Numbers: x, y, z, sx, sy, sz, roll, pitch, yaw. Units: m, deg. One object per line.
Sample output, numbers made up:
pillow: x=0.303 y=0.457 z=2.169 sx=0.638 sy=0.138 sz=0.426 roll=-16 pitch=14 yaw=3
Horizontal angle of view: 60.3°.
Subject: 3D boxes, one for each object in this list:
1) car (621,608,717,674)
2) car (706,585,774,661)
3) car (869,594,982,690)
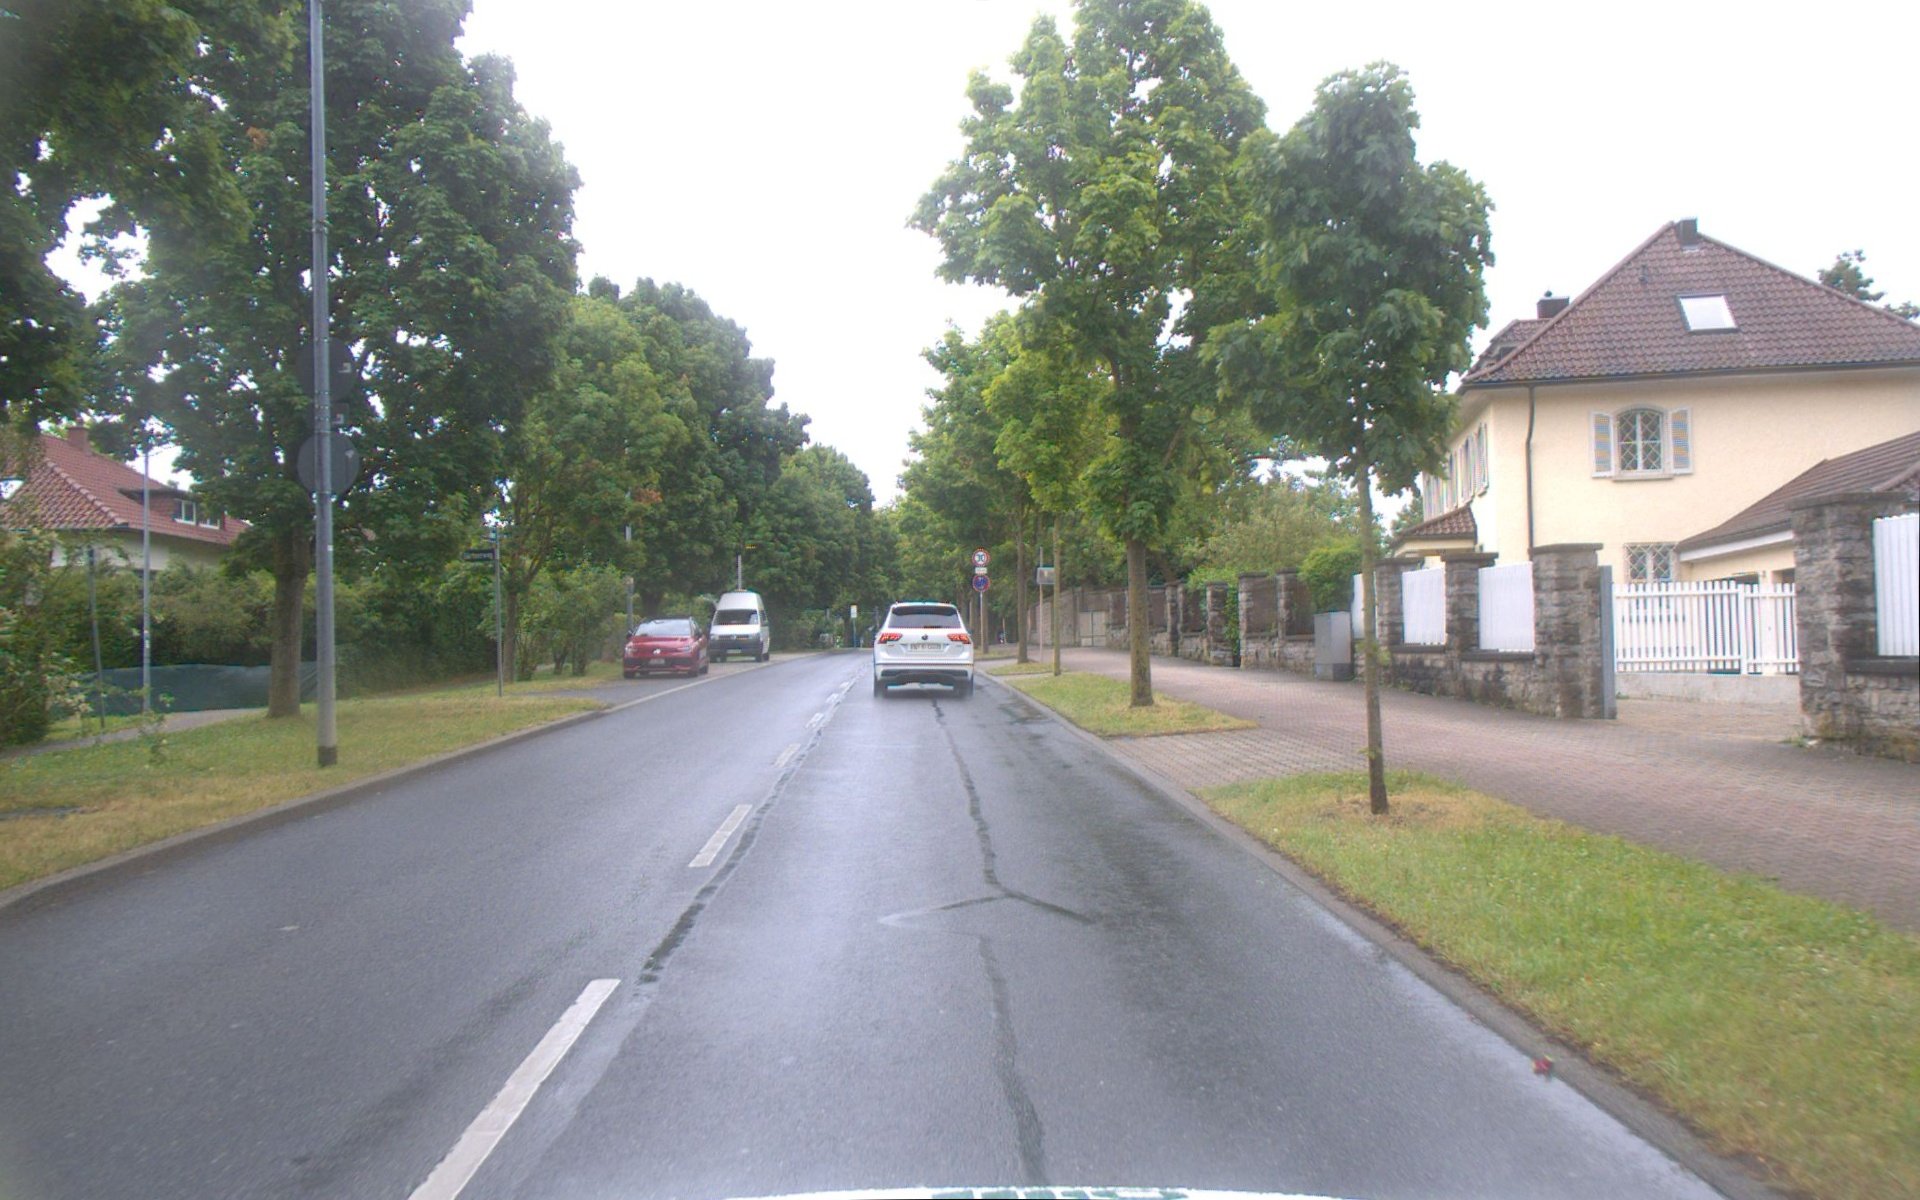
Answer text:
car: x=-7.019 y=0.977 z=40.274 sx=1.806 sy=1.491 sz=4.246 roll=0 pitch=-1 yaw=-3
car: x=-7.890 y=0.851 z=59.780 sx=1.954 sy=2.606 sz=5.229 roll=-1 pitch=-1 yaw=-3
car: x=-0.646 y=0.721 z=30.621 sx=1.956 sy=1.660 sz=3.999 roll=0 pitch=0 yaw=-2
